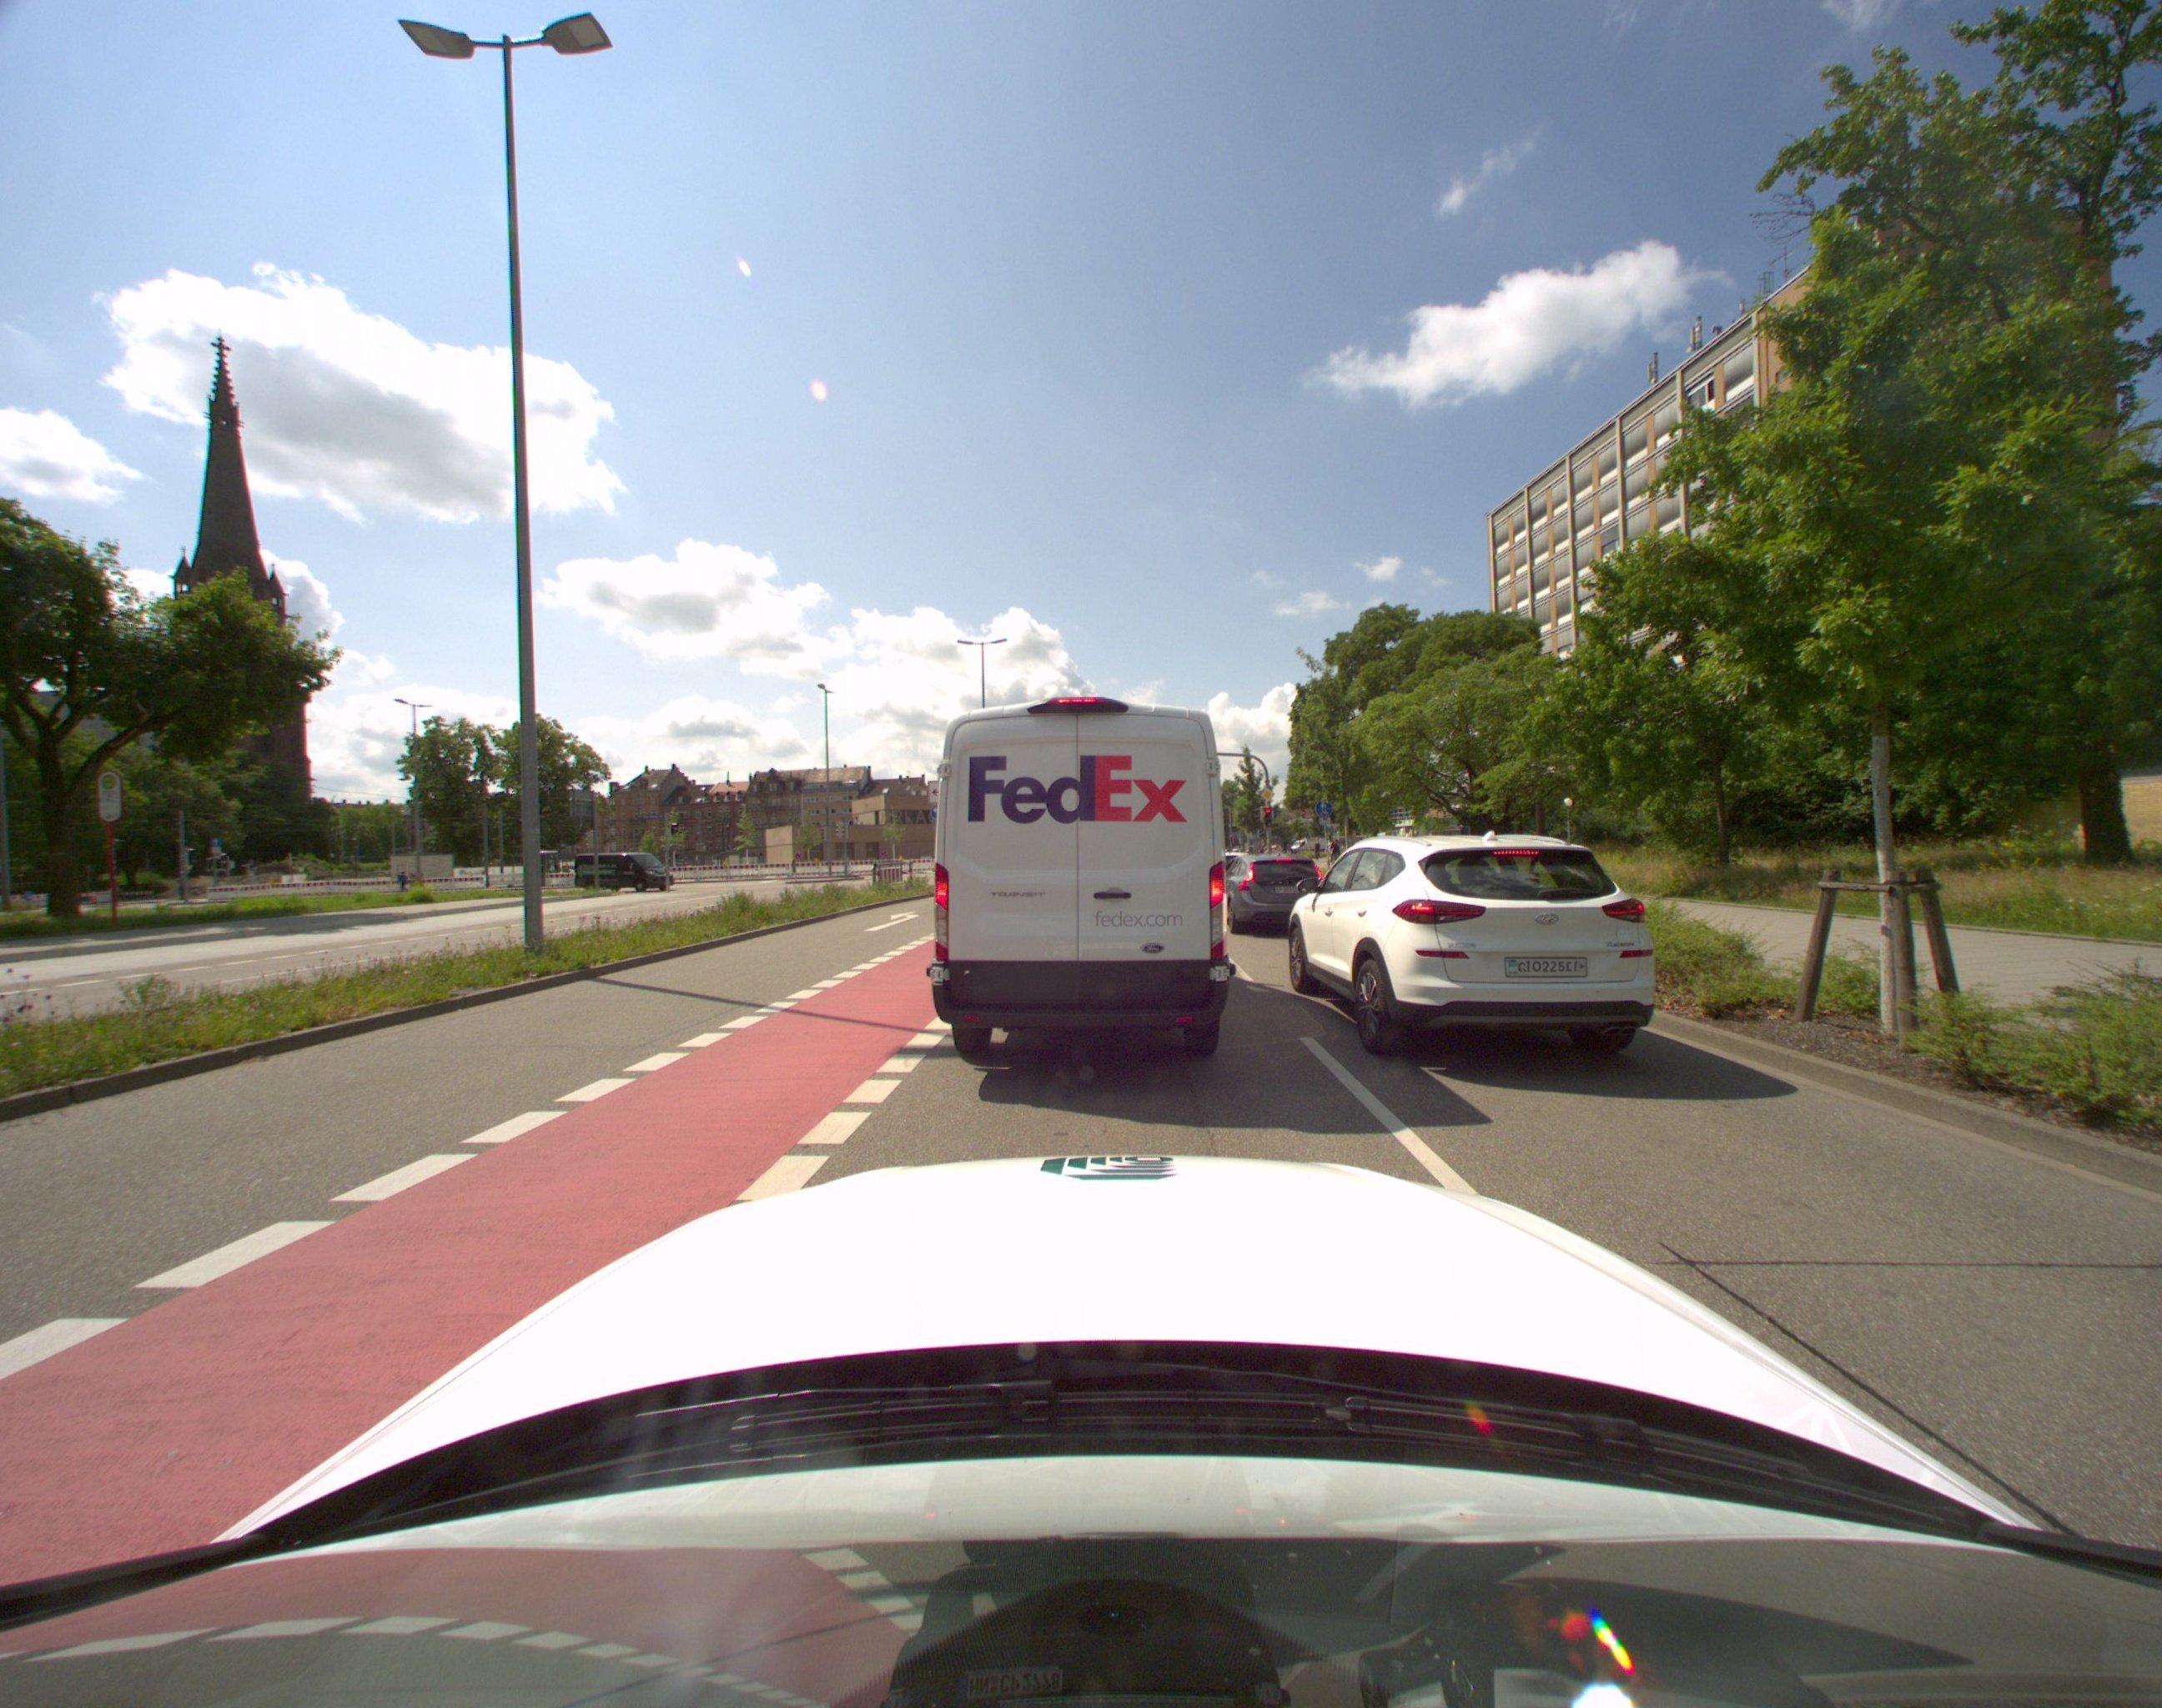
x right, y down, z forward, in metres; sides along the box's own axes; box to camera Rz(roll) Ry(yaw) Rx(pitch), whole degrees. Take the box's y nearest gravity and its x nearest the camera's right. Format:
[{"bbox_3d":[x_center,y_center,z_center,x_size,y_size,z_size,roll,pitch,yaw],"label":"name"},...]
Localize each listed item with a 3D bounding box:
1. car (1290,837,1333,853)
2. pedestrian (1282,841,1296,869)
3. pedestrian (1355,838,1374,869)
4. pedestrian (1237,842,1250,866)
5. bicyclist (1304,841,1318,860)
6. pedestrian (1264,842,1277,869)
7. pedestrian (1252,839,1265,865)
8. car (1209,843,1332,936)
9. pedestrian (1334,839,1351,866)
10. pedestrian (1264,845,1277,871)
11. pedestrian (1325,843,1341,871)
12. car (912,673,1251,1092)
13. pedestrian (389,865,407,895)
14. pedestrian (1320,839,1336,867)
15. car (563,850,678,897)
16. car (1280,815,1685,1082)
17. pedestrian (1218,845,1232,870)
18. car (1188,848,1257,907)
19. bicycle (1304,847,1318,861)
[{"bbox_3d":[39.637,-1.529,140.085,7.094,2.717,2.476,0,-1,-24],"label":"car"},{"bbox_3d":[14.230,0.076,55.732,0.752,1.849,0.820,-2,0,20],"label":"pedestrian"},{"bbox_3d":[17.215,-0.013,49.453,0.758,1.849,0.814,-2,0,-7],"label":"pedestrian"},{"bbox_3d":[12.505,-0.007,62.781,0.756,1.849,0.816,-2,0,-1],"label":"pedestrian"},{"bbox_3d":[26.796,-0.440,94.966,1.421,2.171,1.345,-2,0,17],"label":"bicyclist"},{"bbox_3d":[13.146,0.104,56.545,0.752,1.849,0.820,-2,0,20],"label":"pedestrian"},{"bbox_3d":[13.041,-0.171,59.827,0.810,1.849,0.762,-2,0,5],"label":"pedestrian"},{"bbox_3d":[3.554,0.601,15.882,1.684,1.549,3.724,-2,0,3],"label":"car"},{"bbox_3d":[17.890,-0.094,55.759,0.758,1.849,0.814,-2,0,-6],"label":"pedestrian"},{"bbox_3d":[13.708,0.316,58.888,0.753,1.849,0.820,-2,0,16],"label":"pedestrian"},{"bbox_3d":[14.958,0.177,48.364,0.755,1.655,0.817,-2,0,5],"label":"pedestrian"},{"bbox_3d":[0.129,0.174,7.348,2.064,2.581,4.432,-2,0,3],"label":"car"},{"bbox_3d":[-47.732,1.825,56.911,0.644,2.013,0.632,-2,0,-1],"label":"pedestrian"},{"bbox_3d":[16.832,-0.061,55.520,0.758,1.849,0.814,-2,0,-8],"label":"pedestrian"},{"bbox_3d":[-25.344,1.043,44.953,4.982,2.175,2.156,-4,0,2],"label":"car"},{"bbox_3d":[3.068,0.599,7.249,1.807,1.678,3.978,-2,0,3],"label":"car"},{"bbox_3d":[11.241,0.273,63.610,0.758,1.849,0.814,-2,0,-7],"label":"pedestrian"},{"bbox_3d":[3.862,0.595,22.650,1.493,1.464,3.477,-2,0,3],"label":"car"},{"bbox_3d":[26.817,-0.030,94.946,1.414,1.464,4.330,-2,0,17],"label":"bicycle"}]
